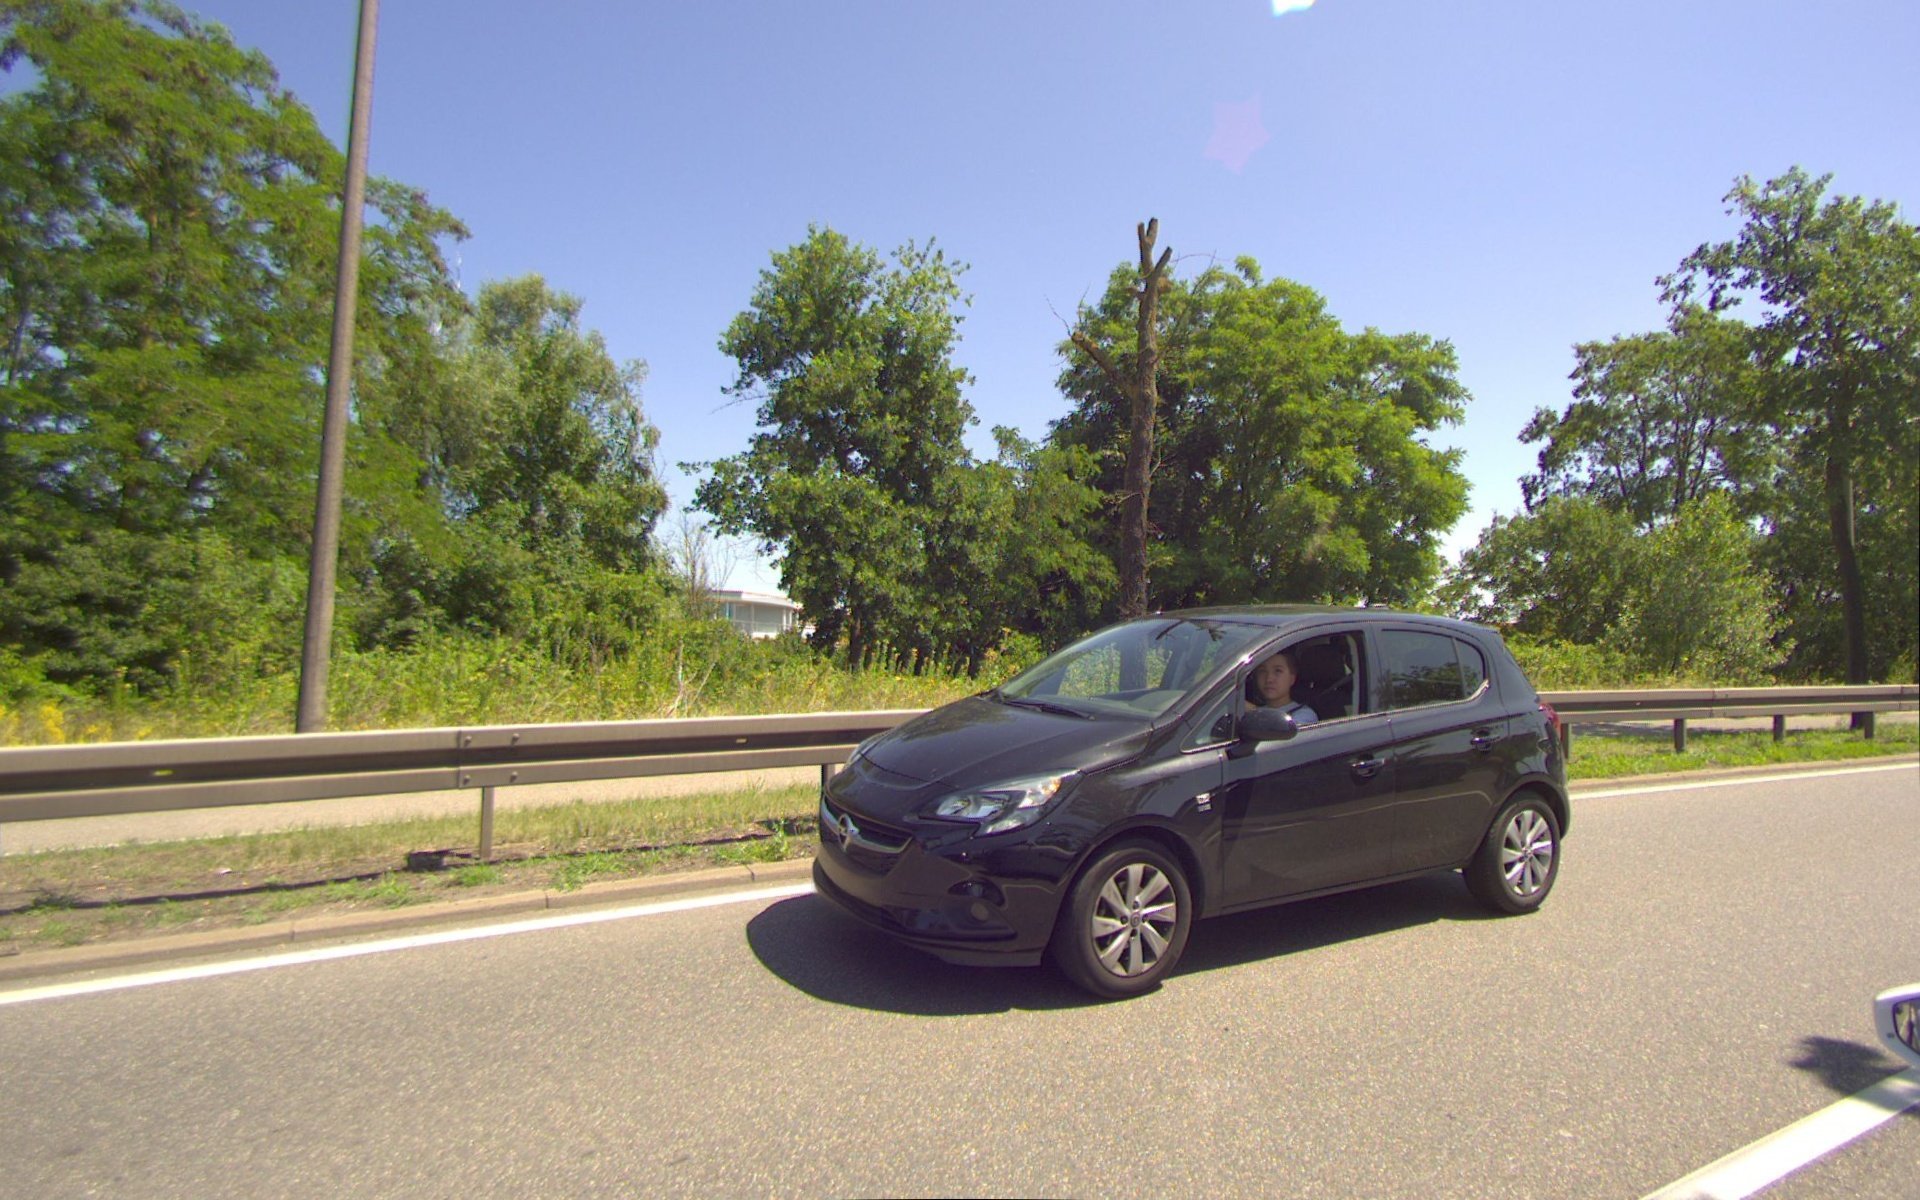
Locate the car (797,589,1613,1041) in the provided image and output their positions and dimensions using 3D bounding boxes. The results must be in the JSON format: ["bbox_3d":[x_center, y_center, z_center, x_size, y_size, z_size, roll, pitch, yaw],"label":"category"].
[{"bbox_3d":[1.281,0.745,4.953,3.773,1.485,1.664,2,0,-29],"label":"car"}]
